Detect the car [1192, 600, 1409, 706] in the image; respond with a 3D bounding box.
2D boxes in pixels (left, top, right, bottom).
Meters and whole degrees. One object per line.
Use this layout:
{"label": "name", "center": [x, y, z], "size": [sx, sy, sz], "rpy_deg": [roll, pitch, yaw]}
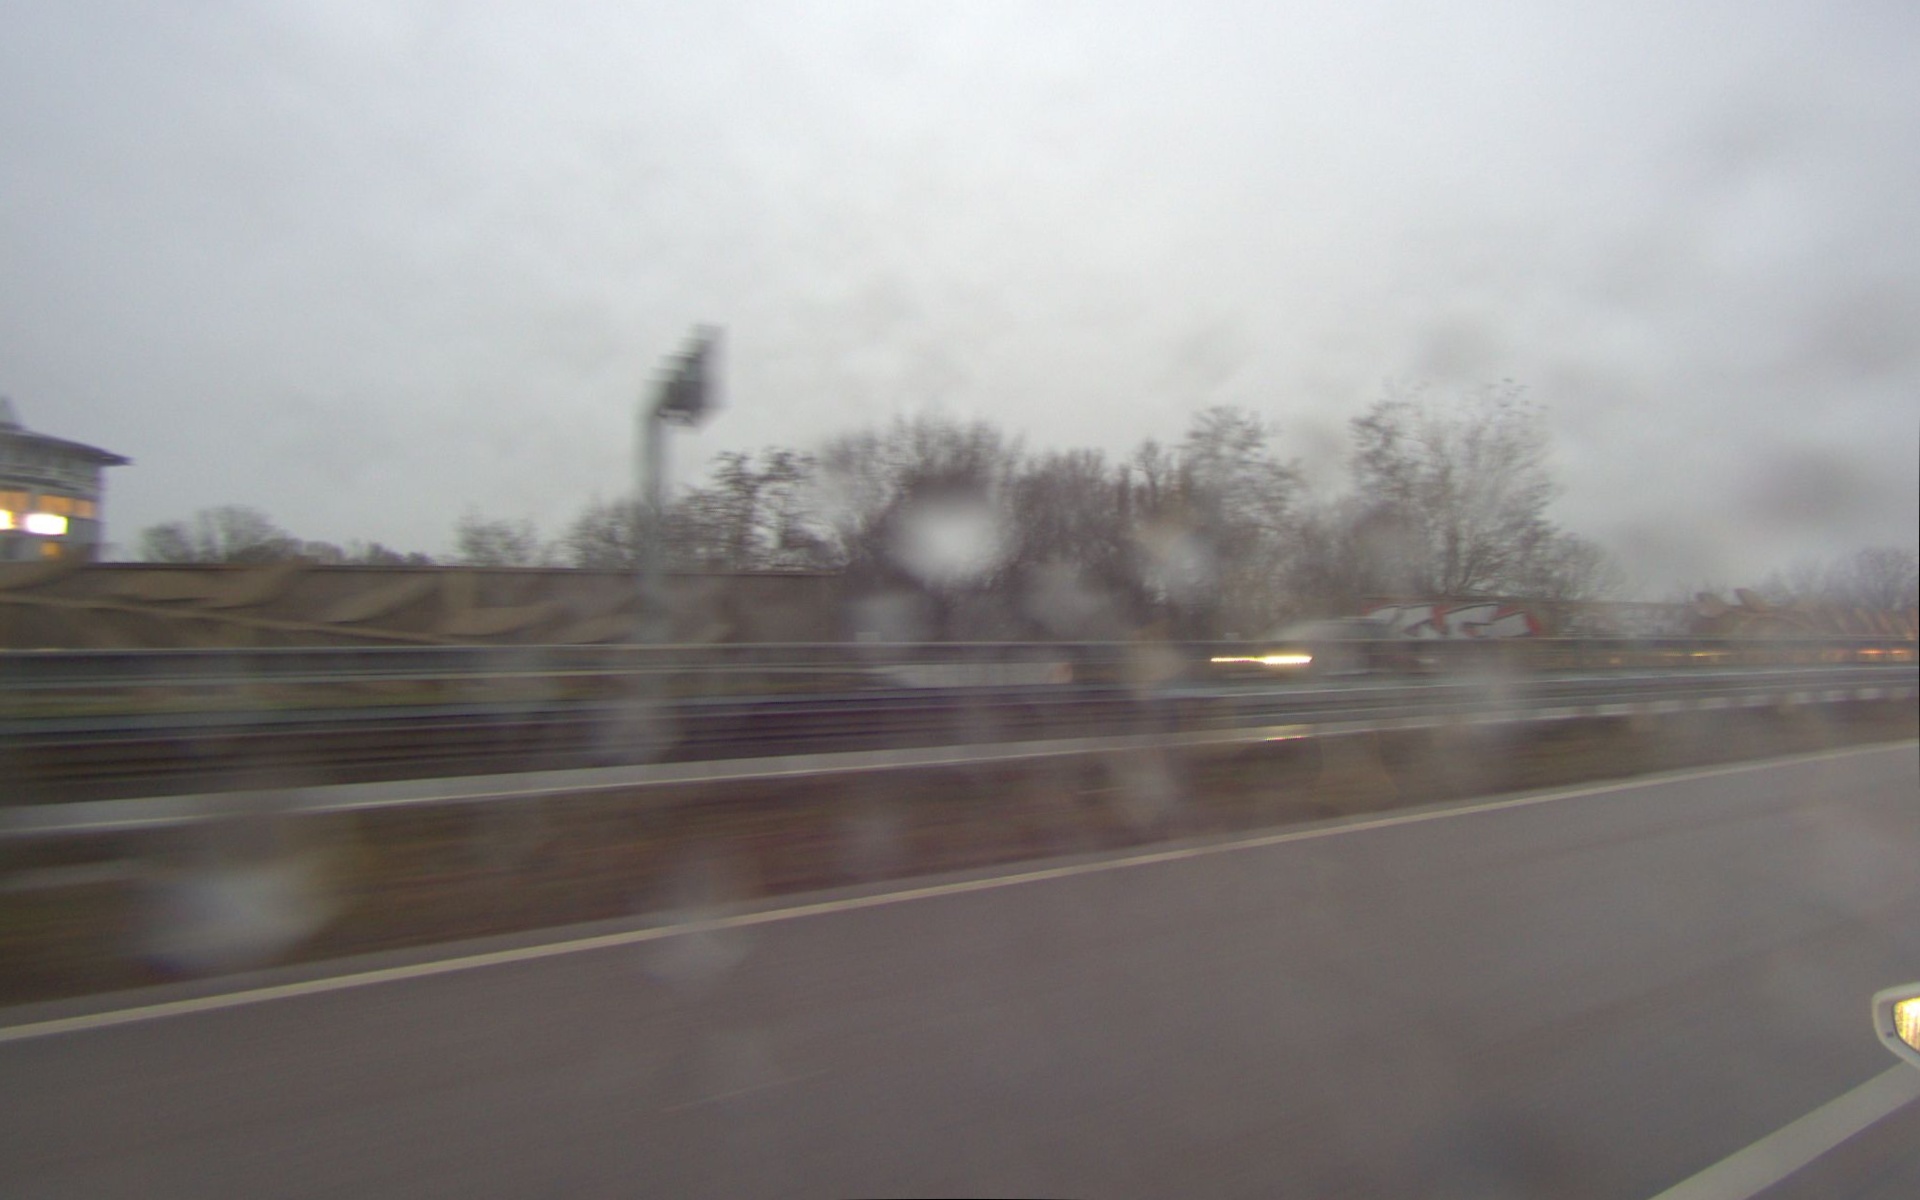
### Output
{"label": "car", "center": [7.027, 1.016, 20.631], "size": [4.238, 1.944, 1.983], "rpy_deg": [1, 0, -32]}
